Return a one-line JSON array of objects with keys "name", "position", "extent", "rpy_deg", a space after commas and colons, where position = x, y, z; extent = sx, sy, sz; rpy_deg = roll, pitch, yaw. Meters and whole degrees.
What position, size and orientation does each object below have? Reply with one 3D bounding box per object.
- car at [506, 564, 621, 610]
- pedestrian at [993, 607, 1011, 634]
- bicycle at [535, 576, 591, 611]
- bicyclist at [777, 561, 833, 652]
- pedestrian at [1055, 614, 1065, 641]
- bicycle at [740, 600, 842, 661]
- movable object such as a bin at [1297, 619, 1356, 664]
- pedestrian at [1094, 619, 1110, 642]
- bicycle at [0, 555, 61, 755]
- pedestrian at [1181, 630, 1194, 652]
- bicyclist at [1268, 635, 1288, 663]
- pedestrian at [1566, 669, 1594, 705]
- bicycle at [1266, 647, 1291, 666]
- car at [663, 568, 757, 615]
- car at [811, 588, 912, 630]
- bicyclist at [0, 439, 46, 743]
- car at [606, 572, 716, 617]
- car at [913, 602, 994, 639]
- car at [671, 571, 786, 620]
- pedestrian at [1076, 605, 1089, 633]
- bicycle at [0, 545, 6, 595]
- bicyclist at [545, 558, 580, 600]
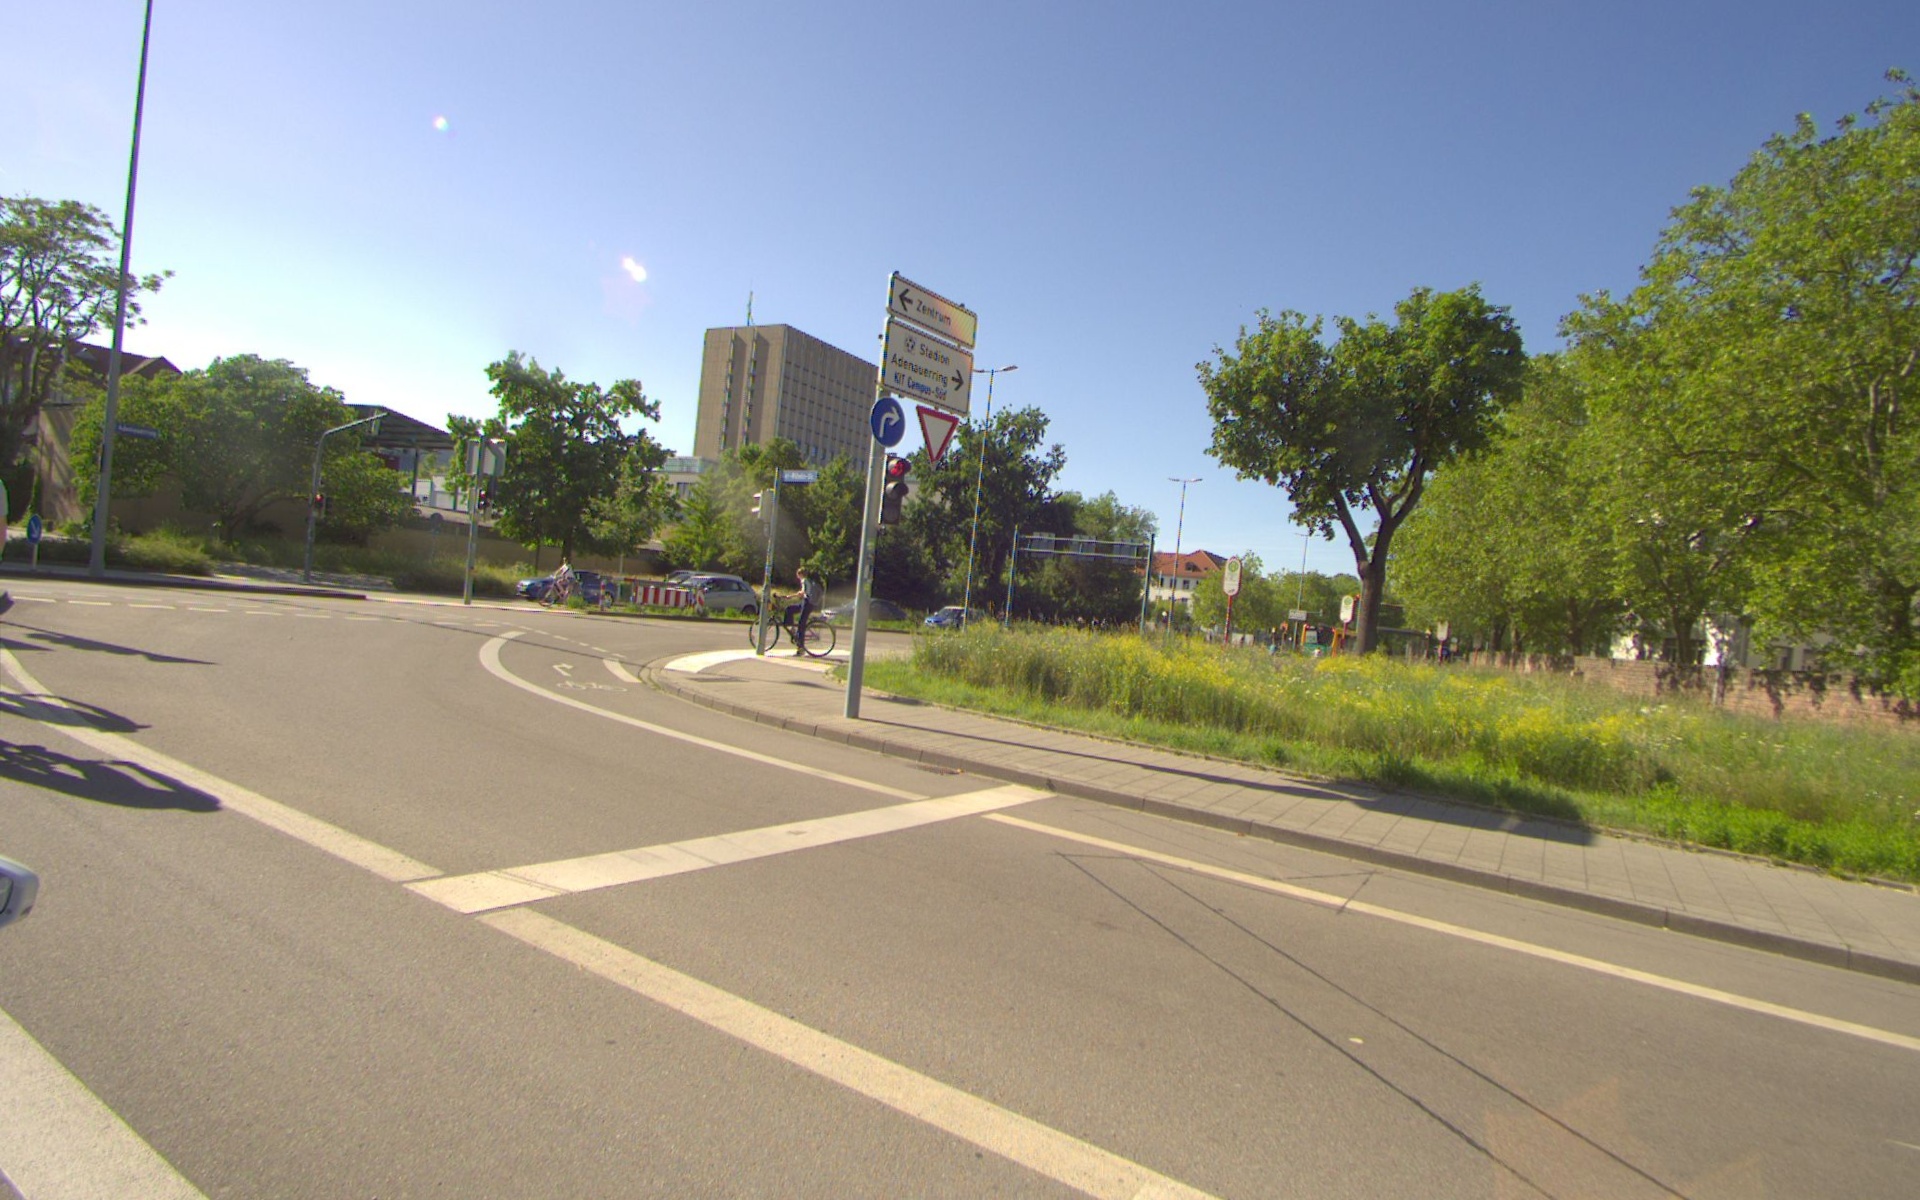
[{"name": "car", "position": [-16.211, -0.527, 41.311], "extent": [1.767, 1.415, 3.986], "rpy_deg": [7, 0, 37]}, {"name": "pedestrian", "position": [3.457, 1.683, 82.682], "extent": [0.752, 2.039, 1.267], "rpy_deg": [7, 1, 36]}, {"name": "bicycle", "position": [-13.937, -0.228, 35.352], "extent": [0.602, 1.046, 1.681], "rpy_deg": [7, 0, 37]}, {"name": "bicyclist", "position": [-3.037, 0.125, 19.698], "extent": [0.898, 1.667, 0.630], "rpy_deg": [6, 1, -9]}, {"name": "pedestrian", "position": [9.090, 2.498, 91.289], "extent": [0.401, 2.451, 0.467], "rpy_deg": [6, -1, 34]}, {"name": "bicycle", "position": [-3.291, 0.592, 19.671], "extent": [1.856, 0.970, 0.635], "rpy_deg": [7, 1, -10]}, {"name": "movable object such as a bin", "position": [28.101, 3.268, 76.884], "extent": [2.954, 2.898, 9.178], "rpy_deg": [6, 0, 27]}, {"name": "pedestrian", "position": [13.130, 2.833, 92.813], "extent": [0.752, 2.039, 1.267], "rpy_deg": [7, 1, 36]}, {"name": "bicycle", "position": [-6.313, 0.236, 6.105], "extent": [1.890, 1.102, 0.690], "rpy_deg": [6, -1, 32]}, {"name": "pedestrian", "position": [25.203, 4.574, 111.483], "extent": [0.937, 2.318, 1.090], "rpy_deg": [6, -1, 32]}, {"name": "bicyclist", "position": [18.390, 2.837, 58.213], "extent": [0.632, 1.533, 1.049], "rpy_deg": [7, 2, 39]}, {"name": "pedestrian", "position": [27.059, 3.786, 43.914], "extent": [0.712, 1.460, 0.523], "rpy_deg": [7, -1, 2]}, {"name": "bicycle", "position": [18.519, 3.271, 58.424], "extent": [0.640, 0.986, 1.895], "rpy_deg": [7, 1, 39]}, {"name": "car", "position": [-11.843, -0.368, 47.789], "extent": [1.767, 1.771, 3.986], "rpy_deg": [7, 0, 37]}, {"name": "car", "position": [-4.310, 0.434, 44.623], "extent": [1.767, 1.415, 4.557], "rpy_deg": [7, 0, 37]}, {"name": "bicyclist", "position": [-6.321, -0.115, 6.130], "extent": [1.123, 1.813, 0.684], "rpy_deg": [7, 0, 32]}, {"name": "car", "position": [-12.300, -0.201, 41.564], "extent": [1.767, 1.415, 3.986], "rpy_deg": [7, 0, 37]}, {"name": "car", "position": [-0.295, 1.048, 50.450], "extent": [1.916, 1.415, 3.986], "rpy_deg": [6, 0, 37]}, {"name": "car", "position": [-8.740, -0.131, 38.282], "extent": [1.767, 1.415, 3.986], "rpy_deg": [7, 0, 37]}, {"name": "pedestrian", "position": [11.305, 1.762, 92.870], "extent": [0.710, 2.451, 0.585], "rpy_deg": [6, -1, 34]}, {"name": "bicycle", "position": [-8.187, 0.026, 7.739], "extent": [1.890, 1.102, 0.690], "rpy_deg": [6, -1, 32]}, {"name": "bicyclist", "position": [-13.935, -0.723, 35.275], "extent": [0.602, 1.360, 0.874], "rpy_deg": [7, 1, 37]}]
